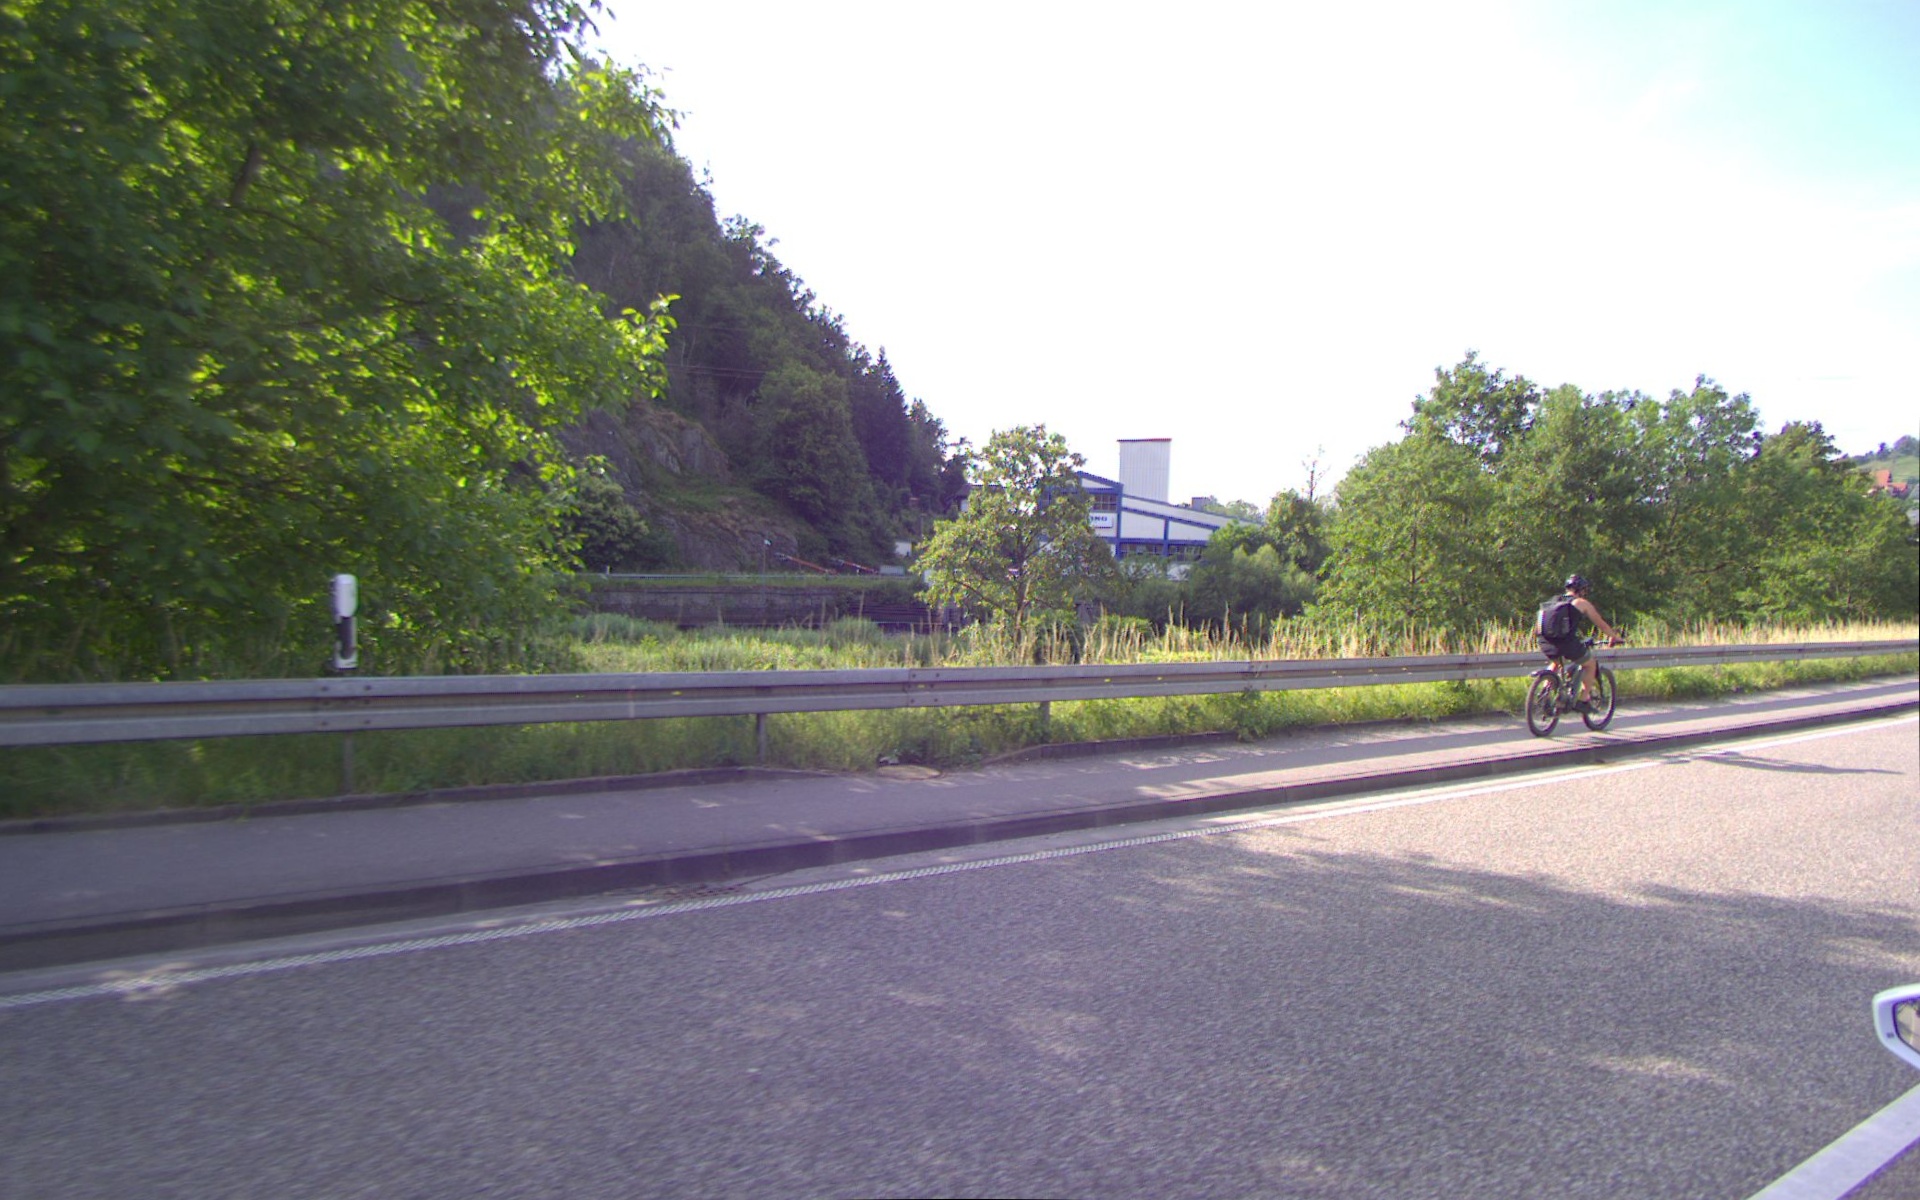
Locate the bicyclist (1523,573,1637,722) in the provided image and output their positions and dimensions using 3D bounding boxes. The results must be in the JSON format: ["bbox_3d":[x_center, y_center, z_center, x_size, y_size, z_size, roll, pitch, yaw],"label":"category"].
[{"bbox_3d":[7.100,0.521,11.514,1.022,1.608,0.555,0,5,-28],"label":"bicyclist"}]

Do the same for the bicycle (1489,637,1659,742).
[{"bbox_3d":[7.071,0.990,11.536,2.201,1.060,0.555,0,5,-28],"label":"bicycle"}]
